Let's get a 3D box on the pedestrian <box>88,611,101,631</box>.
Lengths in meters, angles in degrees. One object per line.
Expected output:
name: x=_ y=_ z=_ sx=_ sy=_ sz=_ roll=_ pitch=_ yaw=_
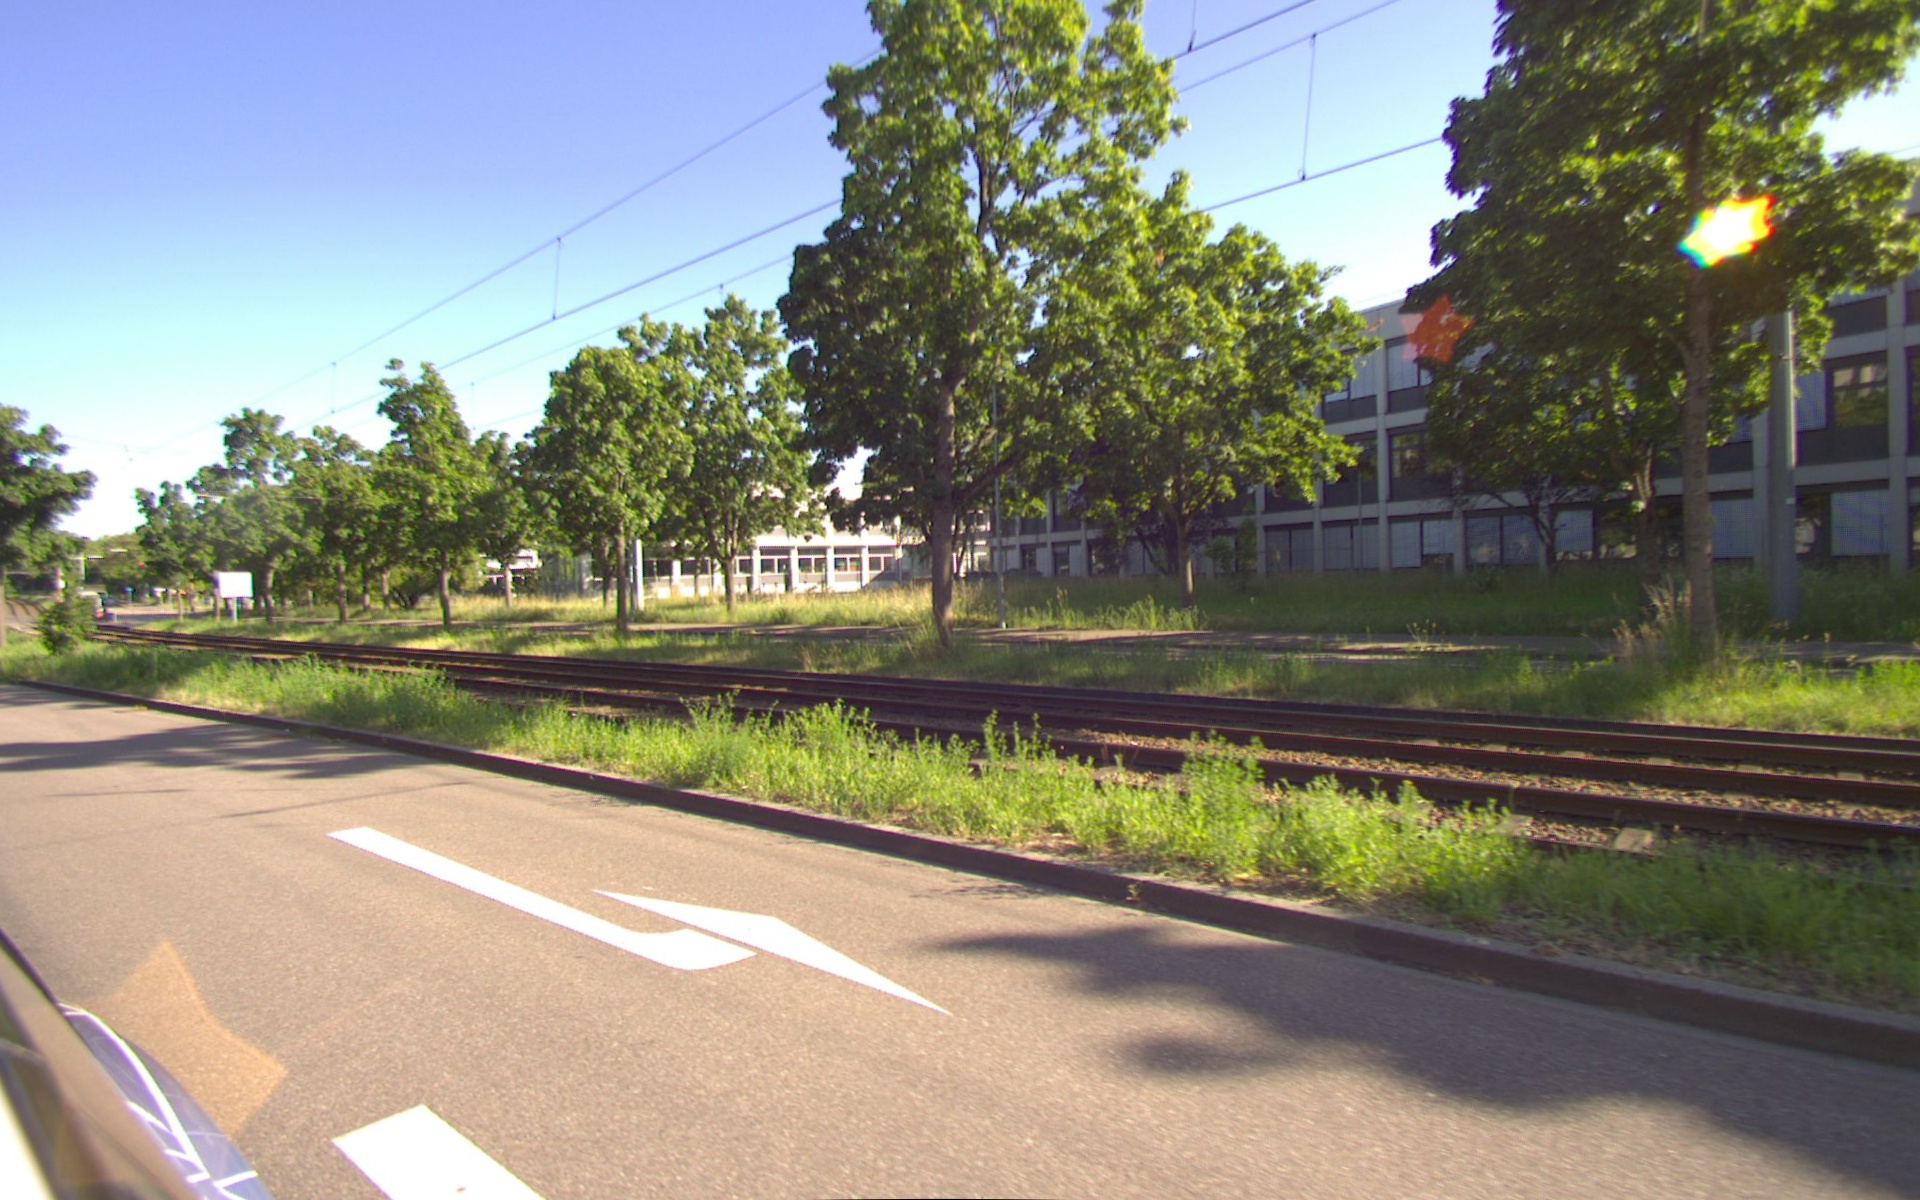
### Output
pedestrian: x=-80.514 y=1.953 z=94.165 sx=0.782 sy=1.764 sz=0.775 roll=-1 pitch=2 yaw=43
